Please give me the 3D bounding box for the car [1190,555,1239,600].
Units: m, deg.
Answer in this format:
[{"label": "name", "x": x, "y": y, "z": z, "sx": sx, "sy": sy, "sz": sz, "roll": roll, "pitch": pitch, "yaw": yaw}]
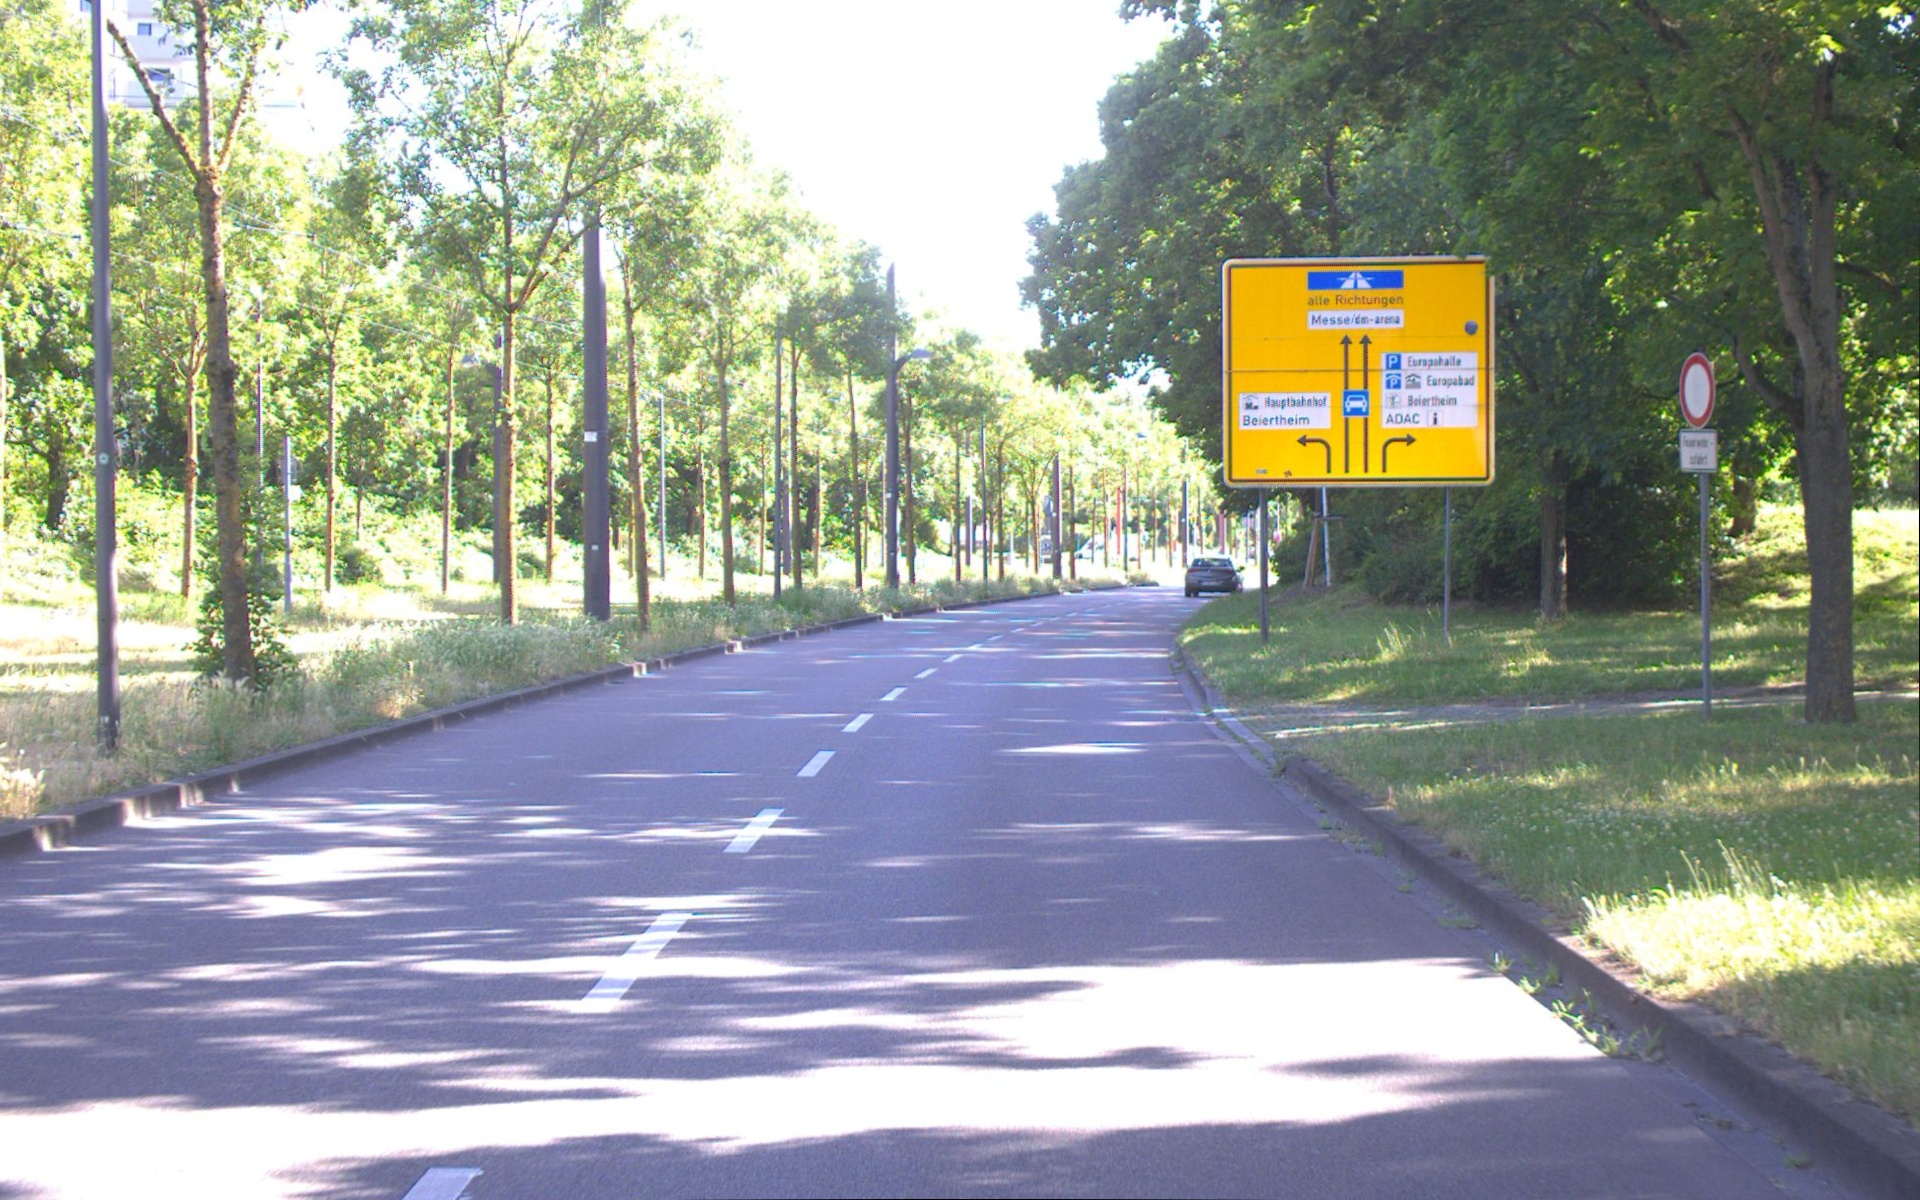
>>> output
[{"label": "car", "x": 8.790, "y": -0.799, "z": 118.554, "sx": 1.634, "sy": 1.493, "sz": 4.234, "roll": 1, "pitch": 1, "yaw": 5}]
